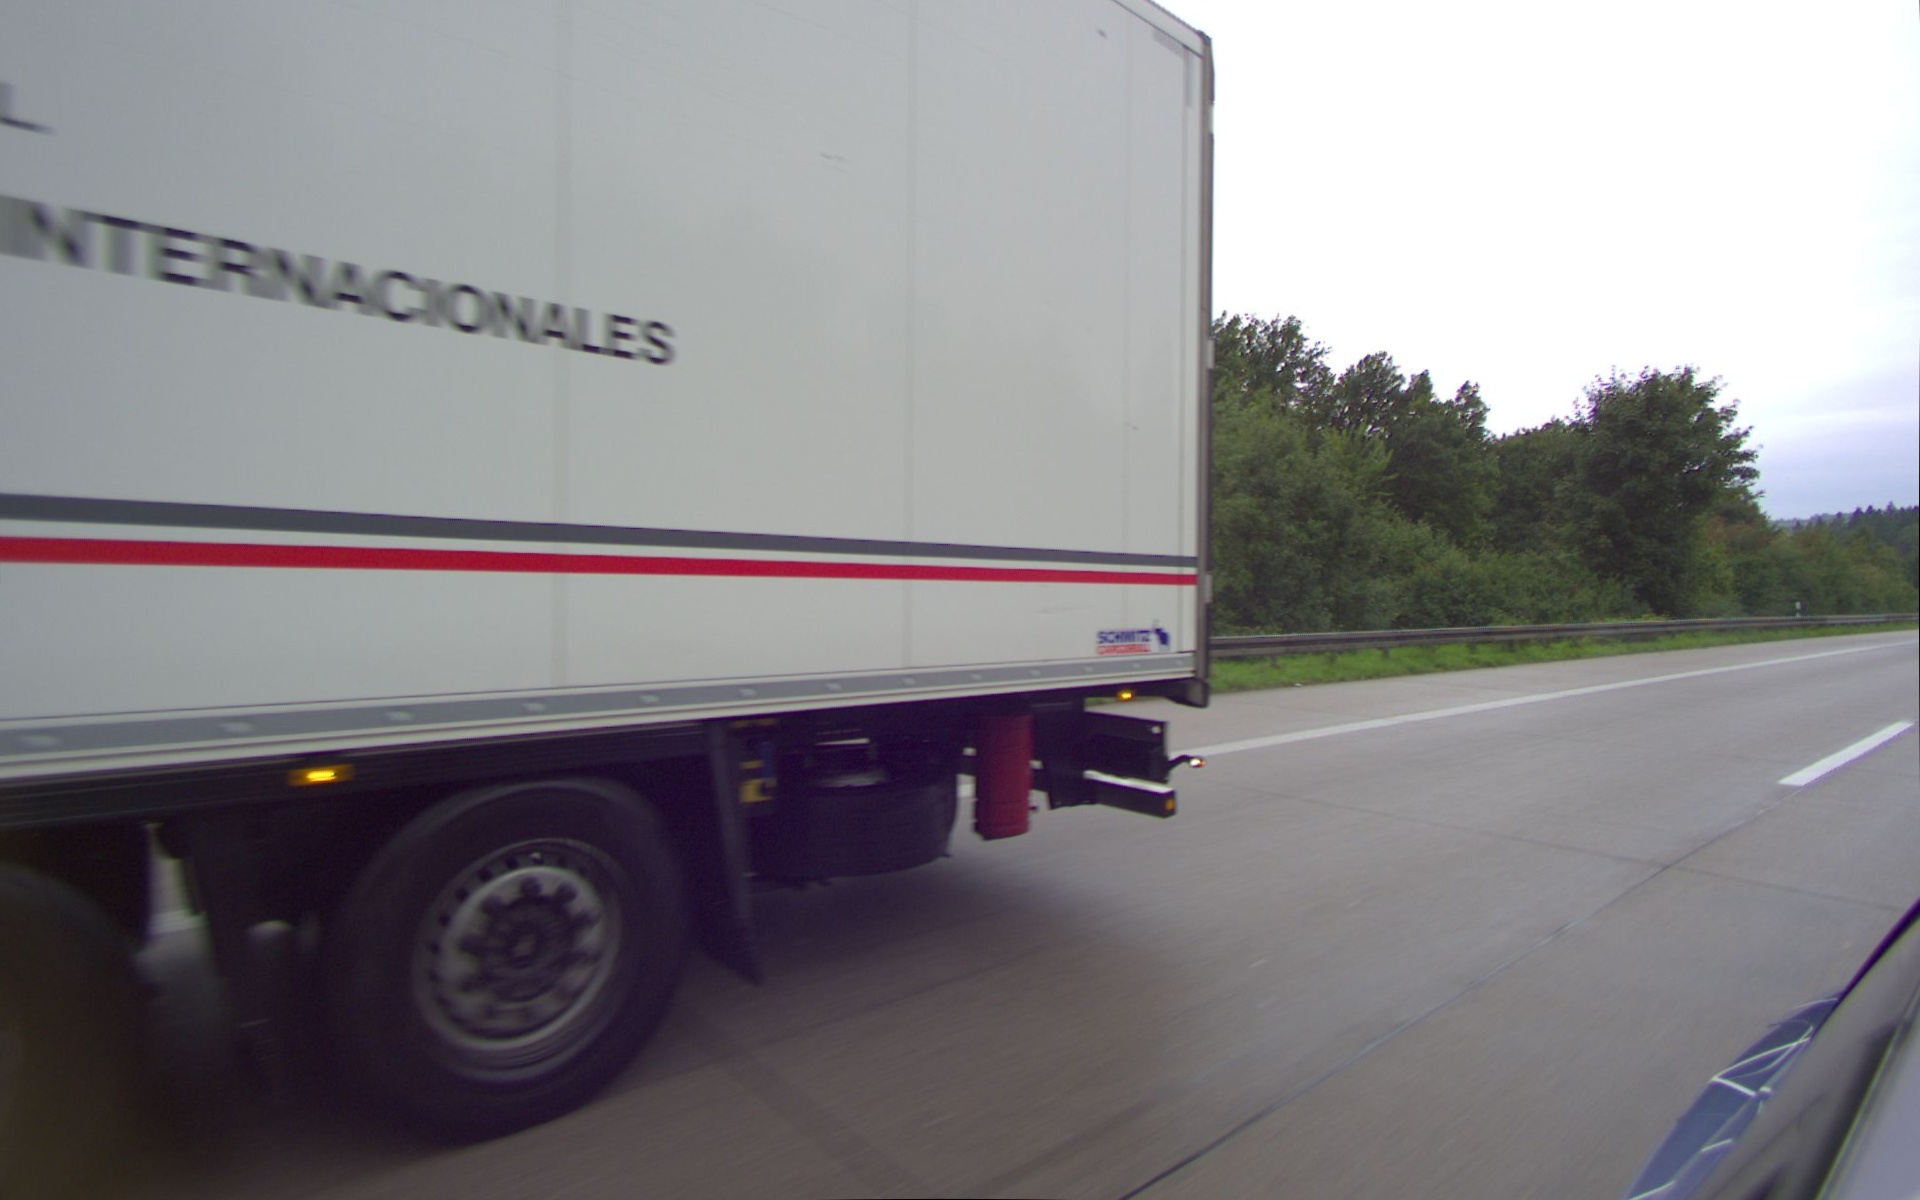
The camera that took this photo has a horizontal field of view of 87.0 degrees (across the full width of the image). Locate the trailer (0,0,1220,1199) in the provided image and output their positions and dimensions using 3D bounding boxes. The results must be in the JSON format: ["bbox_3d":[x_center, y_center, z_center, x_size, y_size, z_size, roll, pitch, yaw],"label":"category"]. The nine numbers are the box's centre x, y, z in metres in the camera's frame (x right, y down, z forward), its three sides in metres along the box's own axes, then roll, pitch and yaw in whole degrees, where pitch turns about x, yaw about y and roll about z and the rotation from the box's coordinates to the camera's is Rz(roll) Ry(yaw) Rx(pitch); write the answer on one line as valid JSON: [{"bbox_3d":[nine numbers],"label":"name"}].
[{"bbox_3d":[-4.782,-0.698,1.048,13.445,4.155,2.739,0,0,-42],"label":"trailer"}]
